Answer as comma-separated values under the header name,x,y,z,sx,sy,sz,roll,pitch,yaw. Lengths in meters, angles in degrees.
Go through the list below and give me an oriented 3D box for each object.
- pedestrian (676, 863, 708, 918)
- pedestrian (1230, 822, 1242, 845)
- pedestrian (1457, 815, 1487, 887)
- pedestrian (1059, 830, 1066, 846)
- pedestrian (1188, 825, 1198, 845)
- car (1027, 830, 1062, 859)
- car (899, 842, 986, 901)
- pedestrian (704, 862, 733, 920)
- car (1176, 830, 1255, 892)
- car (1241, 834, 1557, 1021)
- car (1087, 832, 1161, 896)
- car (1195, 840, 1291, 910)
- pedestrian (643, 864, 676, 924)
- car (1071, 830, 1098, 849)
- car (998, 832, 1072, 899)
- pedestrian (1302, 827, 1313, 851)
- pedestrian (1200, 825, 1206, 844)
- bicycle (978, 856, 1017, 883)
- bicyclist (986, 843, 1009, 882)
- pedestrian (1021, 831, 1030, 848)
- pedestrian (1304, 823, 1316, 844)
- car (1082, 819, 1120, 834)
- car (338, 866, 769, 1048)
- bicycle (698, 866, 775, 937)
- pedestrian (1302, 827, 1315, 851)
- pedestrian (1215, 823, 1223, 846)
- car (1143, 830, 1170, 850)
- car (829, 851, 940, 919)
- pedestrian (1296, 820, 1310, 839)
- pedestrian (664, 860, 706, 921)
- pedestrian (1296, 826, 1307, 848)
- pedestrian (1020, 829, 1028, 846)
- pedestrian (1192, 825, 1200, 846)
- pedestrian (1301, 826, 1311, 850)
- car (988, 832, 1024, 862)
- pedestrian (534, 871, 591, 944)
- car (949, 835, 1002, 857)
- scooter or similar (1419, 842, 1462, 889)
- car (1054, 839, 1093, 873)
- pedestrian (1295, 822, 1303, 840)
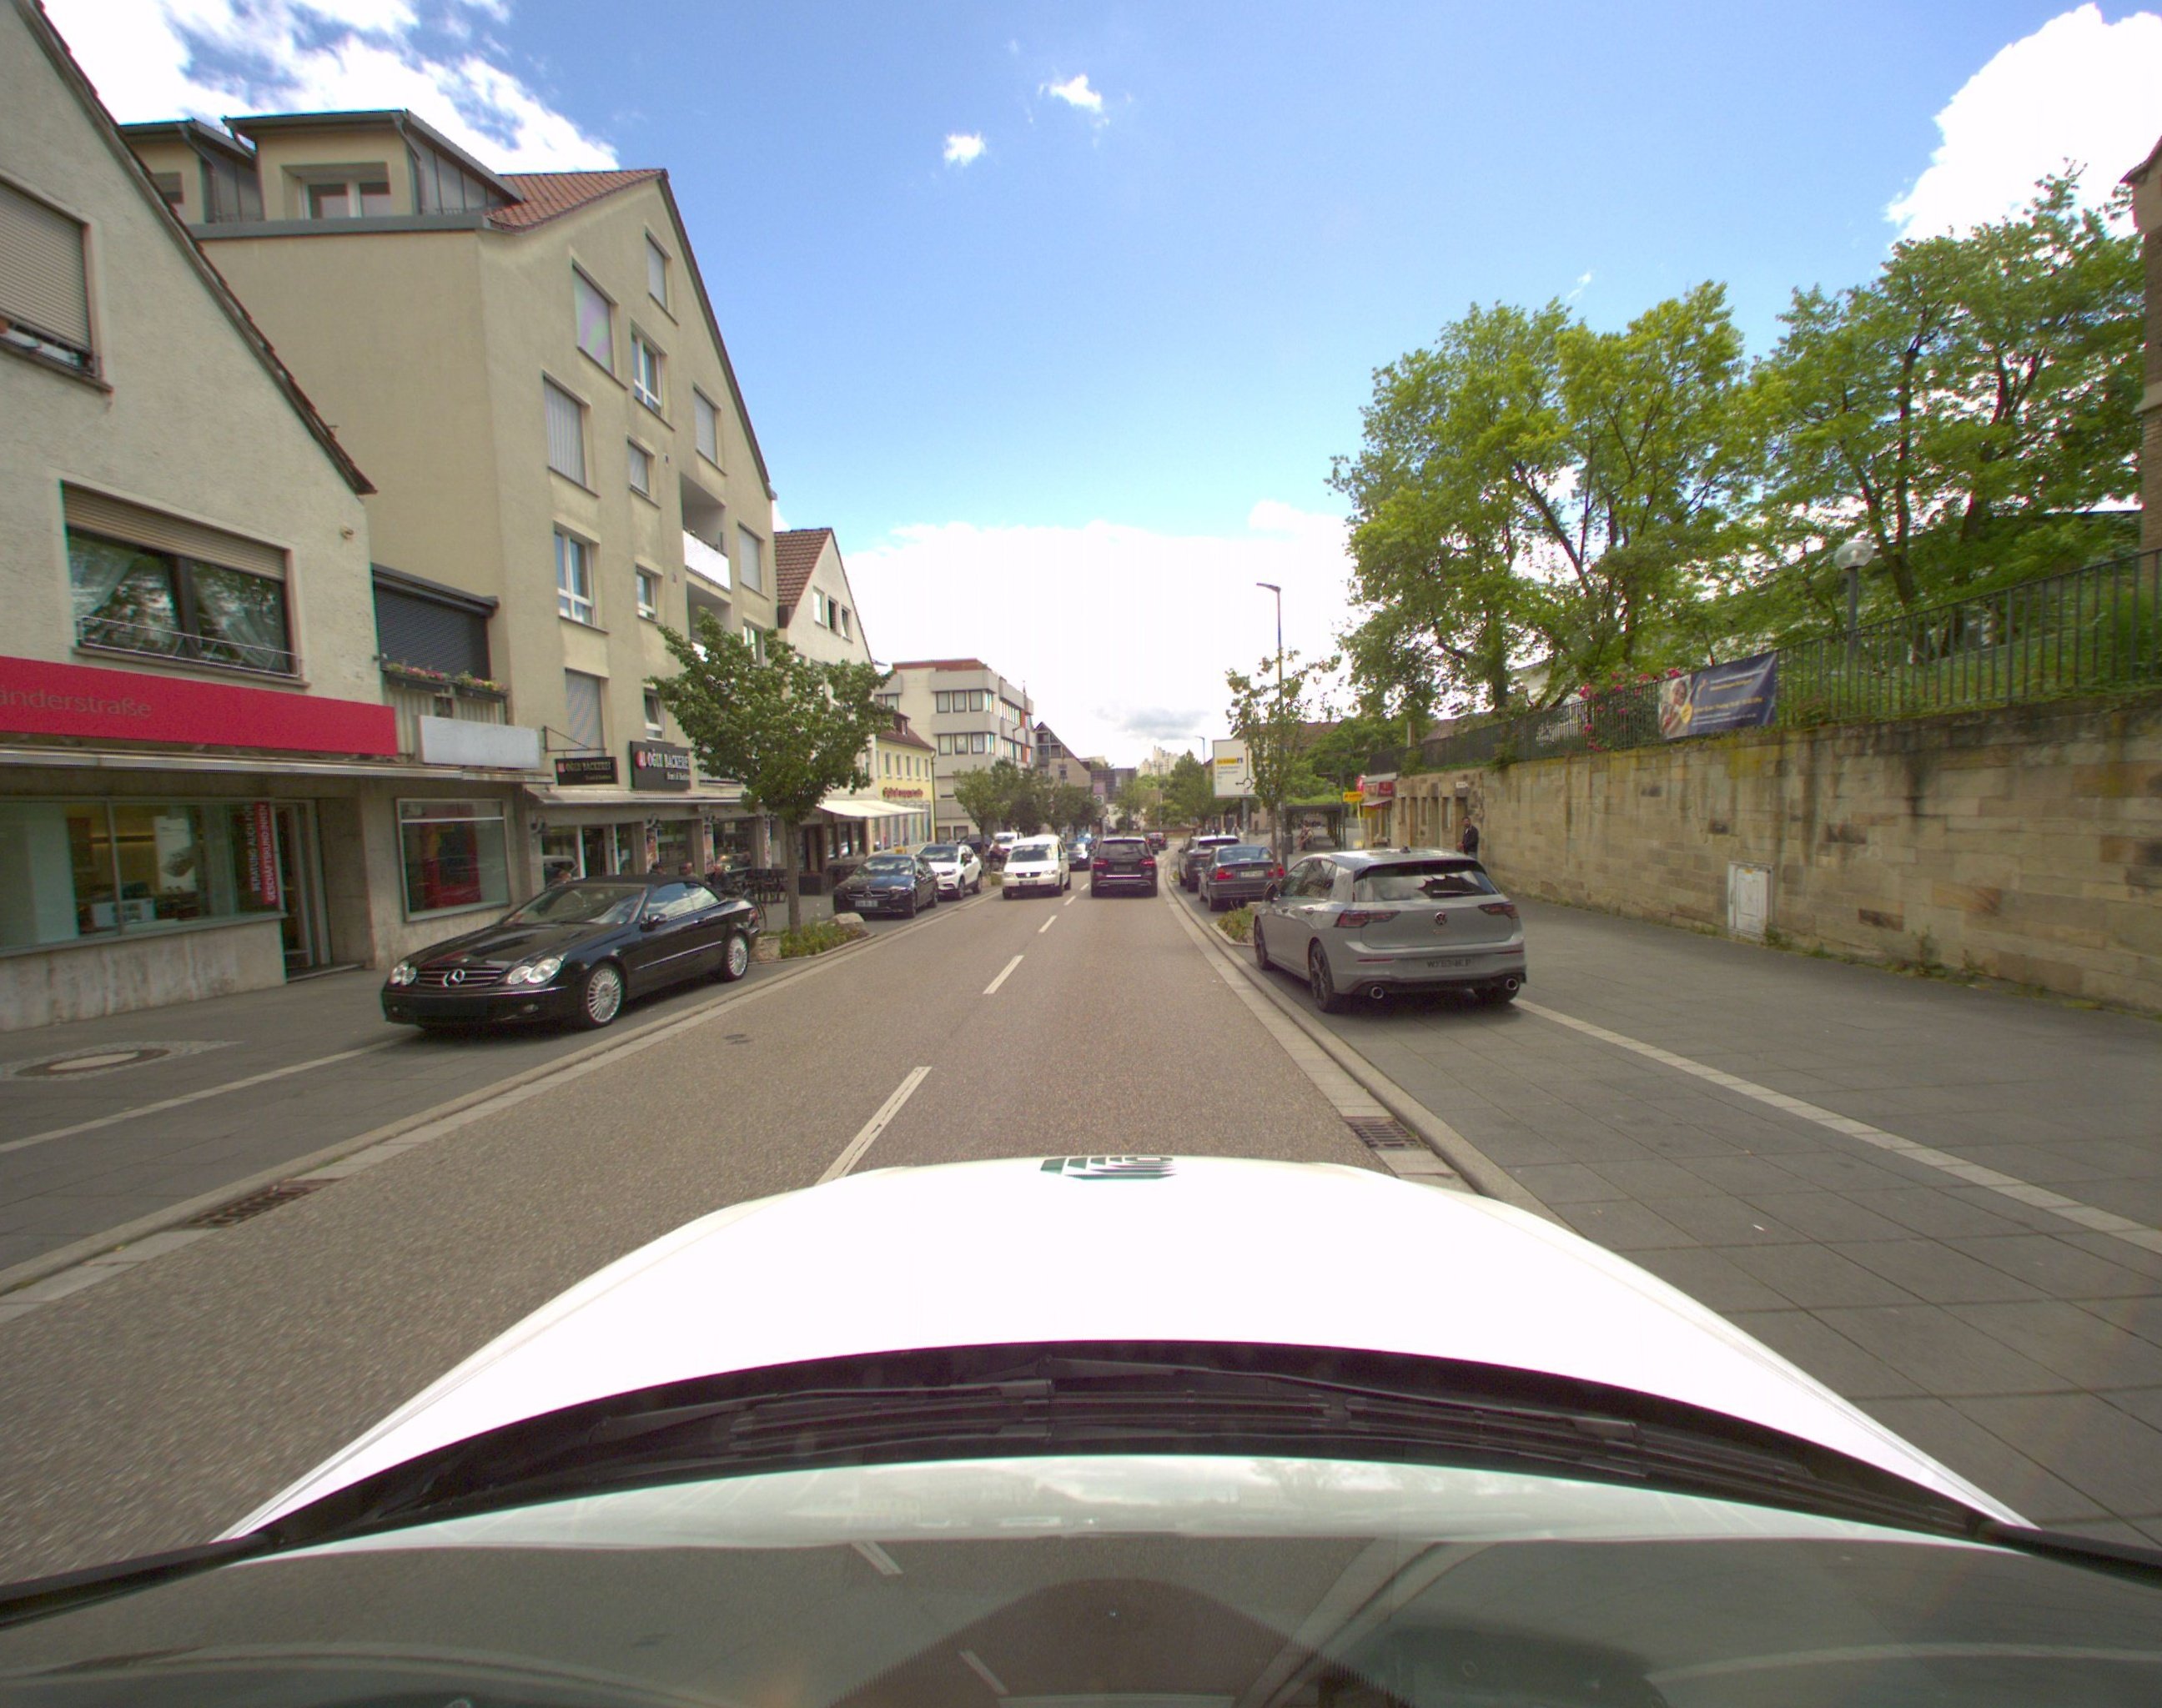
name,x,y,z,sx,sy,sz,roll,pitch,yaw
pedestrian,-9.099,0.841,19.049,0.425,1.249,0.567,-1,1,2
pedestrian,11.476,-1.518,60.307,0.679,1.682,0.718,-2,2,18
pedestrian,9.151,-0.063,19.087,0.469,1.645,0.508,-3,0,14
pedestrian,-1.899,-1.668,83.322,0.583,1.588,0.640,-1,2,8
pedestrian,8.599,-1.465,62.362,0.508,1.549,0.490,-2,2,33
car,-2.174,-0.603,50.029,1.649,1.671,4.356,-1,2,4
car,-4.193,0.466,25.333,1.658,1.646,4.139,0,1,5
pedestrian,-8.446,0.857,18.976,0.419,1.299,0.454,-1,1,2
car,4.131,0.144,25.656,1.920,1.724,4.578,-2,1,3
car,2.990,0.593,8.680,1.749,1.441,4.089,-3,0,0
car,1.219,0.269,24.688,2.020,1.727,4.433,-1,0,0
car,3.704,0.441,19.287,1.673,1.417,4.376,-2,0,4
pedestrian,-9.082,0.854,17.563,0.393,1.249,0.500,-1,1,2
car,0.373,-1.356,73.271,1.684,1.599,4.344,1,2,10
car,-1.352,0.303,25.519,1.739,1.802,4.216,-4,0,3
pedestrian,13.102,-0.879,47.104,0.492,1.320,0.577,-2,4,11
pedestrian,9.719,-1.555,64.880,0.391,1.565,0.353,-3,2,9
bicycle,-3.684,0.692,36.138,1.660,1.087,0.409,-4,2,-33
bicyclist,-3.691,0.376,36.180,0.781,1.694,0.505,-4,2,-32
pedestrian,-5.179,-1.370,75.894,0.586,1.566,0.641,-4,2,-19
pedestrian,14.969,-1.348,53.208,0.620,1.307,0.548,-3,2,11
car,3.528,-4.930,144.680,6.293,2.560,2.196,0,-1,-14
car,-5.252,0.893,9.005,1.650,1.392,4.448,-2,0,3
bicycle,-6.063,0.803,14.431,0.482,1.107,1.908,-1,1,1
pedestrian,12.990,-0.843,46.466,0.612,1.320,0.588,-2,4,10
pedestrian,10.501,-1.493,62.043,0.508,1.680,0.578,-3,2,7
car,6.308,-1.186,68.296,2.045,1.588,4.376,1,2,2
car,-4.727,0.674,20.225,1.835,1.451,4.511,-1,1,-3
pedestrian,15.603,-1.714,57.260,0.761,1.269,0.681,0,3,39
pedestrian,-8.480,0.774,17.455,0.547,1.267,0.599,-1,1,2
pedestrian,13.134,-1.006,48.529,0.564,1.261,0.543,-2,4,11
pedestrian,-5.377,-1.551,76.764,0.507,1.566,0.588,-3,2,8
pedestrian,9.135,-1.476,64.741,0.497,1.565,0.499,-3,2,8
pedestrian,13.181,-0.943,47.707,0.495,1.320,0.527,-2,4,12
car,-4.801,-0.478,52.514,1.749,1.813,4.480,0,2,2
pedestrian,-9.197,0.939,14.465,0.593,1.246,0.599,-1,1,2
car,-7.795,-0.590,60.197,3.615,1.558,1.669,-1,2,0
scooter or similar,8.493,0.266,19.241,0.806,1.072,0.562,-3,0,13
car,-0.327,0.057,40.884,1.600,1.388,3.634,-3,3,3
pedestrian,16.472,-1.724,61.535,0.563,1.323,0.548,-1,2,17
